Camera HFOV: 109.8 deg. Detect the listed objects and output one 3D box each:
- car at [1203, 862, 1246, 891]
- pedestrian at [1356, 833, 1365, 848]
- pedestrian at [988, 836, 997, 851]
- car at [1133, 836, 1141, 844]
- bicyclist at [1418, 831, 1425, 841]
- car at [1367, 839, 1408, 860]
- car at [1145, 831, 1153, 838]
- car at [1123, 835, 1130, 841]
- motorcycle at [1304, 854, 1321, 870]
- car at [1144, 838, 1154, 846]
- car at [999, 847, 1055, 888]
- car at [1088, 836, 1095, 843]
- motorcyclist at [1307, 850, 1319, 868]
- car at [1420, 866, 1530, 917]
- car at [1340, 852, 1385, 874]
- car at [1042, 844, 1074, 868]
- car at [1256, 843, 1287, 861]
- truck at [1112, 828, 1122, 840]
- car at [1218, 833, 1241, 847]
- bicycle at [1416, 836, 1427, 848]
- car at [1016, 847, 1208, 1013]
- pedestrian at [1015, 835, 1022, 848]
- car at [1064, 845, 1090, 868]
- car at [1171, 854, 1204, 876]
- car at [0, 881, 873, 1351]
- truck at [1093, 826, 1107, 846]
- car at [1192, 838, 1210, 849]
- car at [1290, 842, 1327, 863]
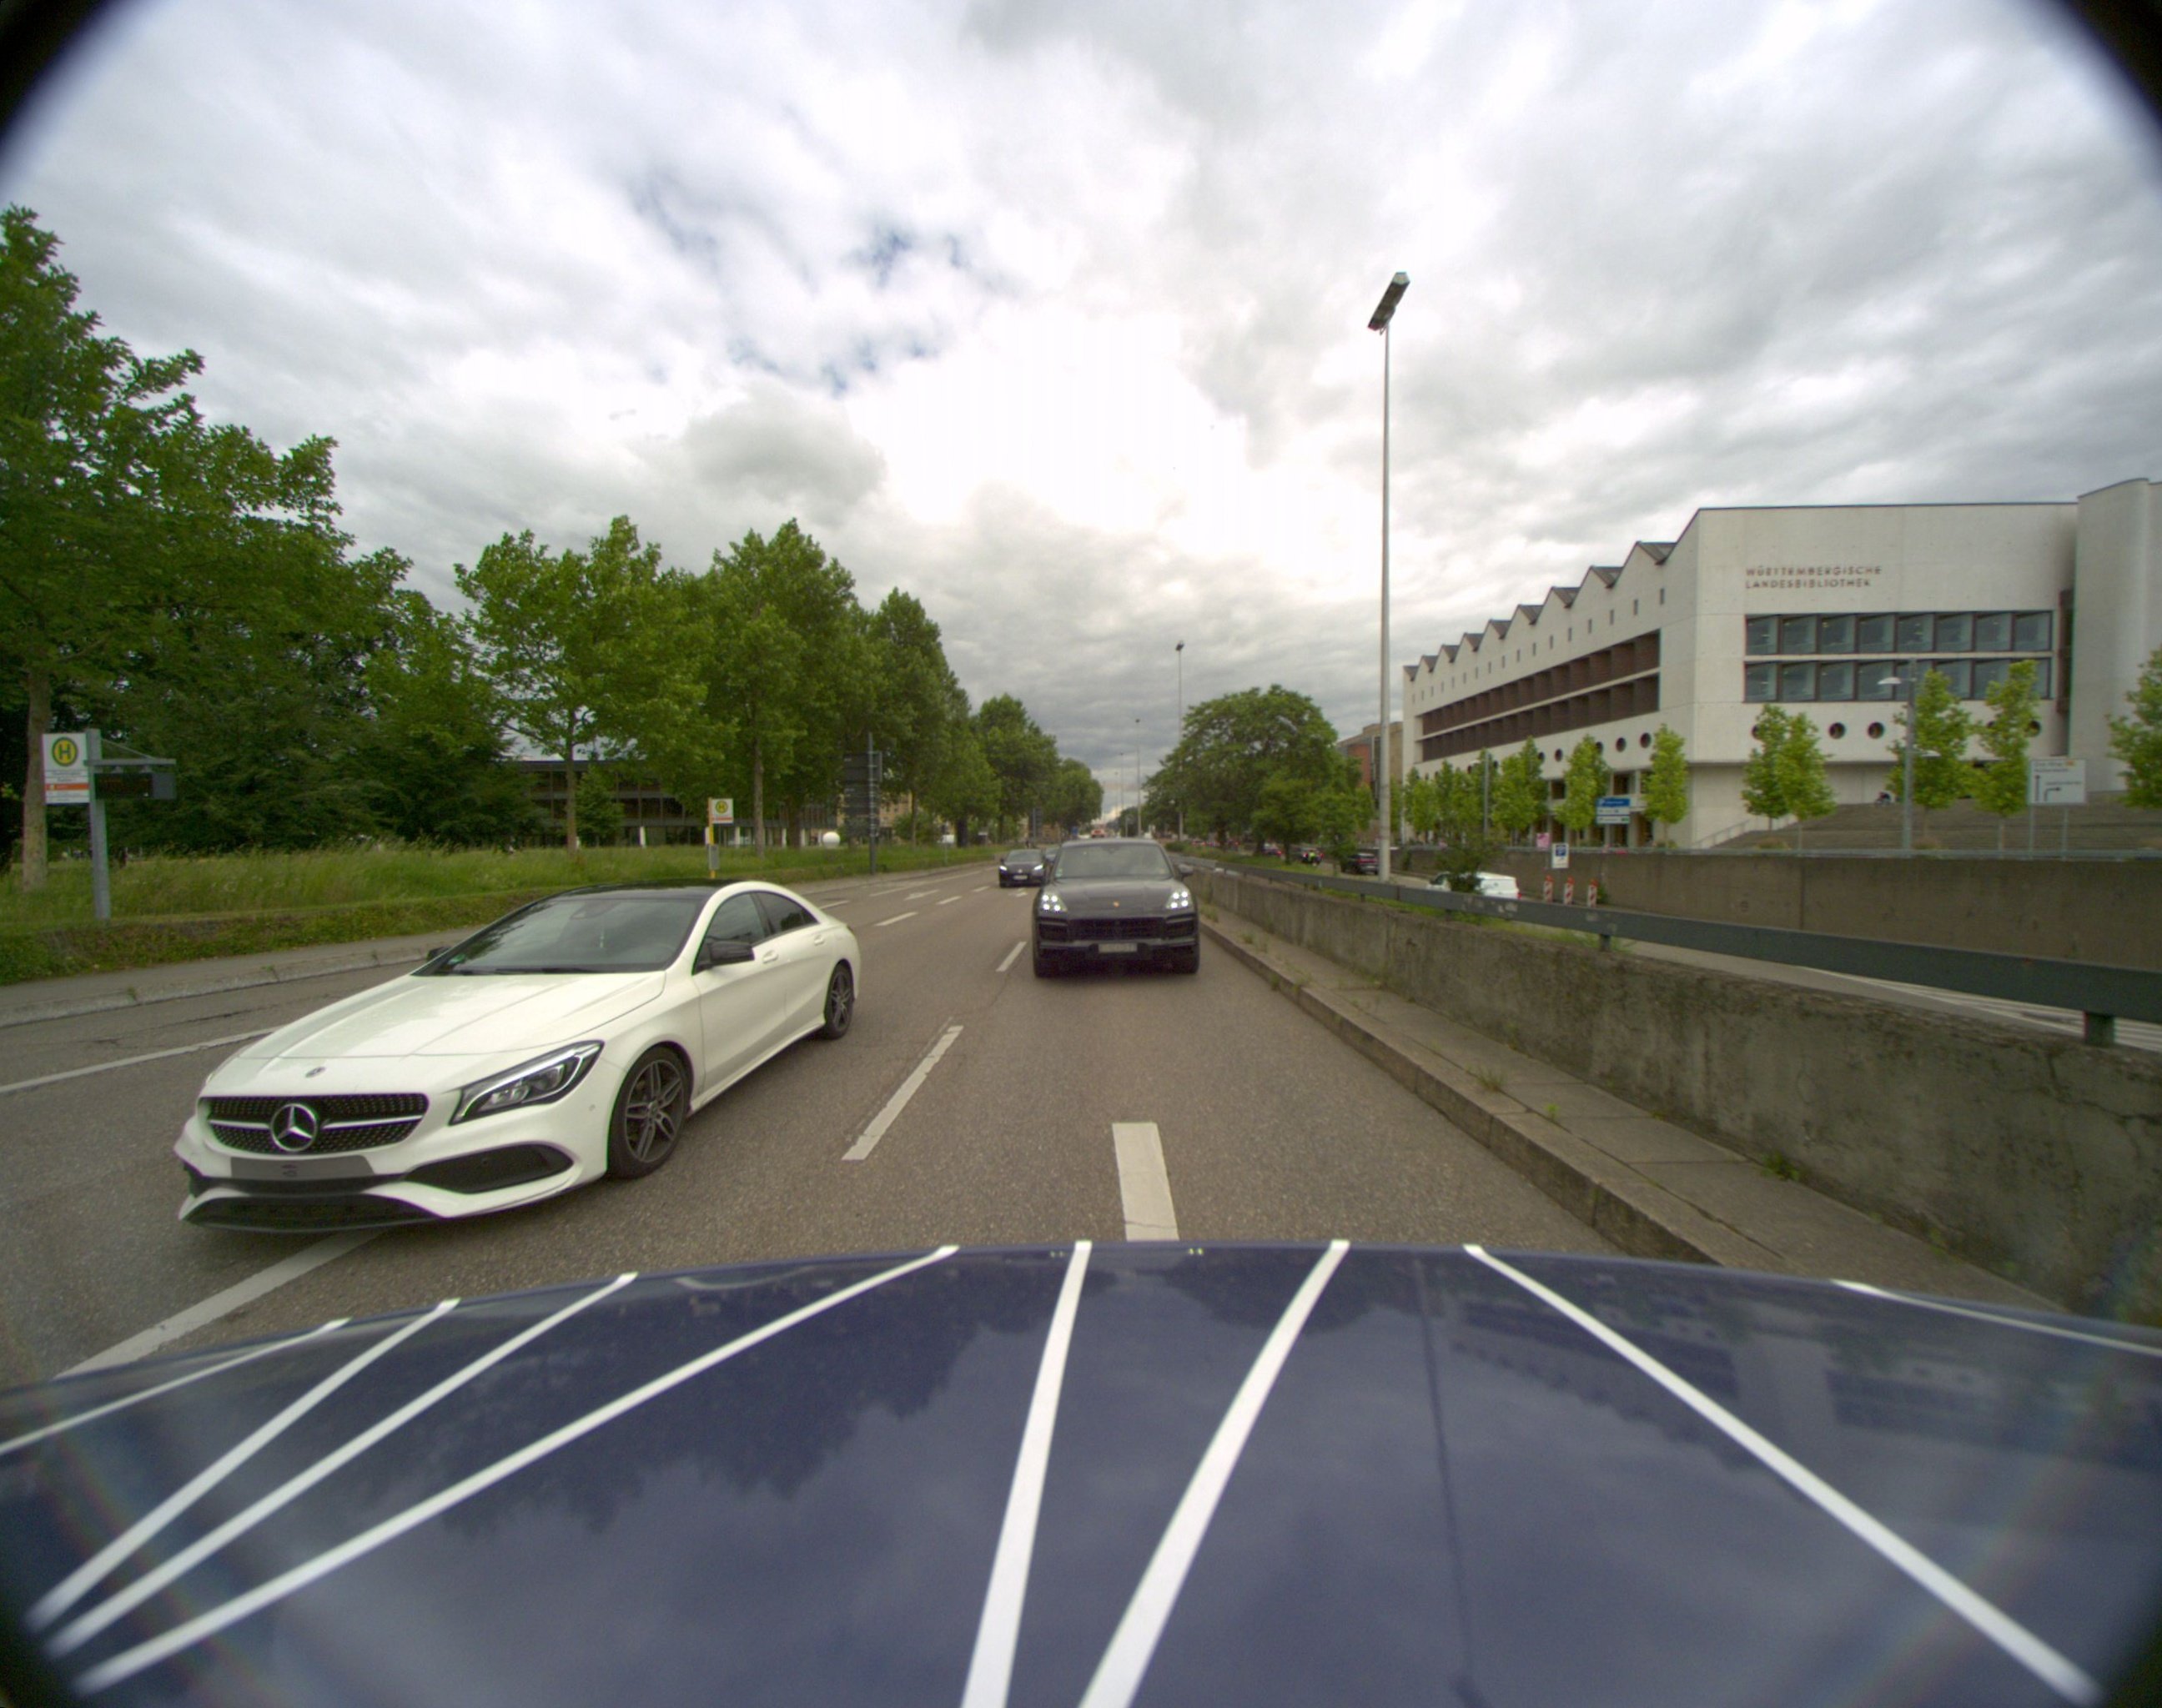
[{"bbox_3d":[8.278,1.270,44.170,1.657,1.406,4.091,-1,1,0],"label":"car"},{"bbox_3d":[36.290,-1.767,98.750,0.722,2.002,1.016,-3,2,2],"label":"pedestrian"},{"bbox_3d":[-12.031,-1.462,103.287,0.892,2.002,1.181,-3,2,2],"label":"pedestrian"},{"bbox_3d":[11.229,-2.786,152.282,1.372,1.390,3.721,2,1,0],"label":"car"},{"bbox_3d":[37.424,-1.973,83.557,0.403,1.154,0.643,-3,2,-1],"label":"bicyclist"},{"bbox_3d":[27.030,-0.445,67.160,1.998,1.753,3.999,2,1,0],"label":"car"},{"bbox_3d":[17.889,-5.188,199.900,1.609,1.844,3.999,-3,2,1],"label":"car"},{"bbox_3d":[10.770,-3.802,179.600,1.372,1.389,3.722,-1,-1,-1],"label":"car"},{"bbox_3d":[18.093,0.631,59.369,0.687,1.092,2.049,3,4,1],"label":"motorcycle"},{"bbox_3d":[12.195,-2.213,136.010,1.372,1.390,3.721,2,1,0],"label":"car"},{"bbox_3d":[-2.138,0.484,31.016,1.852,1.481,4.092,-1,1,2],"label":"car"},{"bbox_3d":[2.950,-4.074,216.240,1.693,2.002,3.999,-3,2,2],"label":"car"},{"bbox_3d":[18.128,0.373,59.429,0.671,1.345,0.717,3,4,0],"label":"motorcyclist"},{"bbox_3d":[17.402,1.589,33.927,1.999,1.630,5.247,5,3,-1],"label":"car"},{"bbox_3d":[20.950,0.622,56.754,1.810,1.321,4.002,0,4,0],"label":"car"},{"bbox_3d":[-1.469,0.113,49.217,1.805,1.426,4.015,-1,1,2],"label":"car"},{"bbox_3d":[17.928,-0.215,71.570,1.779,1.481,4.143,0,4,0],"label":"car"},{"bbox_3d":[10.854,-6.110,229.799,2.576,3.288,8.079,-3,2,2],"label":"truck"},{"bbox_3d":[20.114,-1.889,103.090,2.161,1.636,4.515,2,3,-1],"label":"car"},{"bbox_3d":[37.461,-1.304,83.543,0.403,1.265,1.698,-3,2,-1],"label":"bicycle"},{"bbox_3d":[0.441,0.755,10.030,1.904,1.581,4.732,-1,1,3],"label":"car"},{"bbox_3d":[-10.152,-2.004,122.640,0.892,2.002,1.181,-3,2,2],"label":"pedestrian"},{"bbox_3d":[-0.301,0.178,66.999,2.021,1.823,4.804,-1,1,2],"label":"car"},{"bbox_3d":[7.666,0.761,54.926,1.787,1.406,4.091,-1,1,0],"label":"car"},{"bbox_3d":[-2.982,1.026,4.960,1.799,1.412,4.527,-1,1,2],"label":"car"},{"bbox_3d":[3.661,-3.418,144.194,2.357,3.518,9.423,-3,2,2],"label":"truck"},{"bbox_3d":[17.214,-1.517,109.209,1.998,1.390,3.999,2,1,0],"label":"car"},{"bbox_3d":[20.922,-0.176,70.075,1.875,1.604,4.387,0,4,-2],"label":"car"}]
